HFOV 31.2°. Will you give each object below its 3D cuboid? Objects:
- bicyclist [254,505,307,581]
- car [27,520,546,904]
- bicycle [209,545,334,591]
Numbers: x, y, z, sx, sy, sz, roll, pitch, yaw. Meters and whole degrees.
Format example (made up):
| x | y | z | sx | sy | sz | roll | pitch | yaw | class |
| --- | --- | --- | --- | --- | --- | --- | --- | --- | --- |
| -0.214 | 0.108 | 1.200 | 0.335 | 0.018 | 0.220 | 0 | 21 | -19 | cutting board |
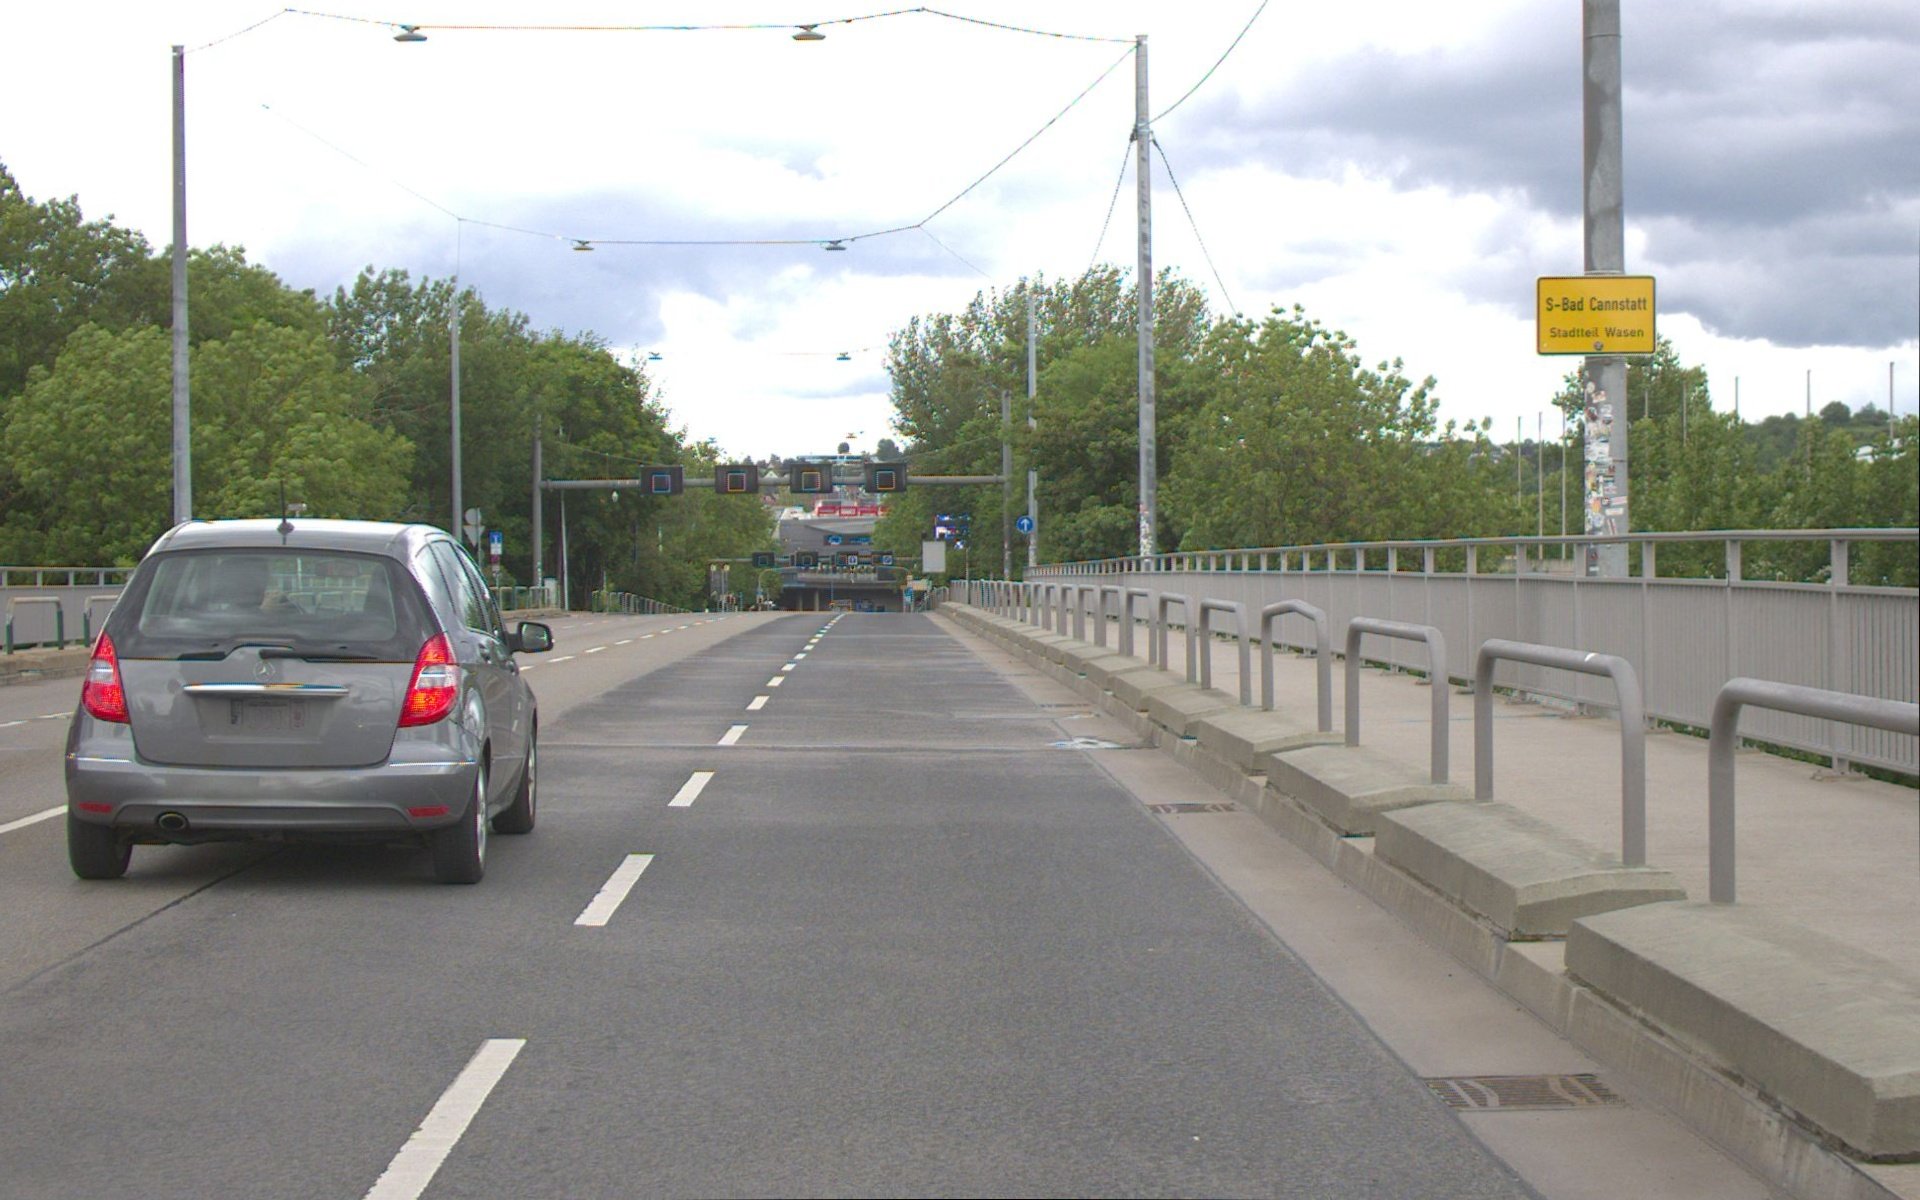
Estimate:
| x | y | z | sx | sy | sz | roll | pitch | yaw | class |
| --- | --- | --- | --- | --- | --- | --- | --- | --- | --- |
| -15.846 | -1.338 | 80.238 | 1.132 | 1.758 | 0.905 | 0 | 1 | -6 | bicyclist |
| -2.969 | 0.413 | 15.909 | 1.745 | 1.545 | 3.872 | 0 | 1 | -2 | car |
| -16.061 | -0.752 | 80.231 | 2.790 | 1.047 | 0.921 | 0 | 1 | -6 | bicycle |
